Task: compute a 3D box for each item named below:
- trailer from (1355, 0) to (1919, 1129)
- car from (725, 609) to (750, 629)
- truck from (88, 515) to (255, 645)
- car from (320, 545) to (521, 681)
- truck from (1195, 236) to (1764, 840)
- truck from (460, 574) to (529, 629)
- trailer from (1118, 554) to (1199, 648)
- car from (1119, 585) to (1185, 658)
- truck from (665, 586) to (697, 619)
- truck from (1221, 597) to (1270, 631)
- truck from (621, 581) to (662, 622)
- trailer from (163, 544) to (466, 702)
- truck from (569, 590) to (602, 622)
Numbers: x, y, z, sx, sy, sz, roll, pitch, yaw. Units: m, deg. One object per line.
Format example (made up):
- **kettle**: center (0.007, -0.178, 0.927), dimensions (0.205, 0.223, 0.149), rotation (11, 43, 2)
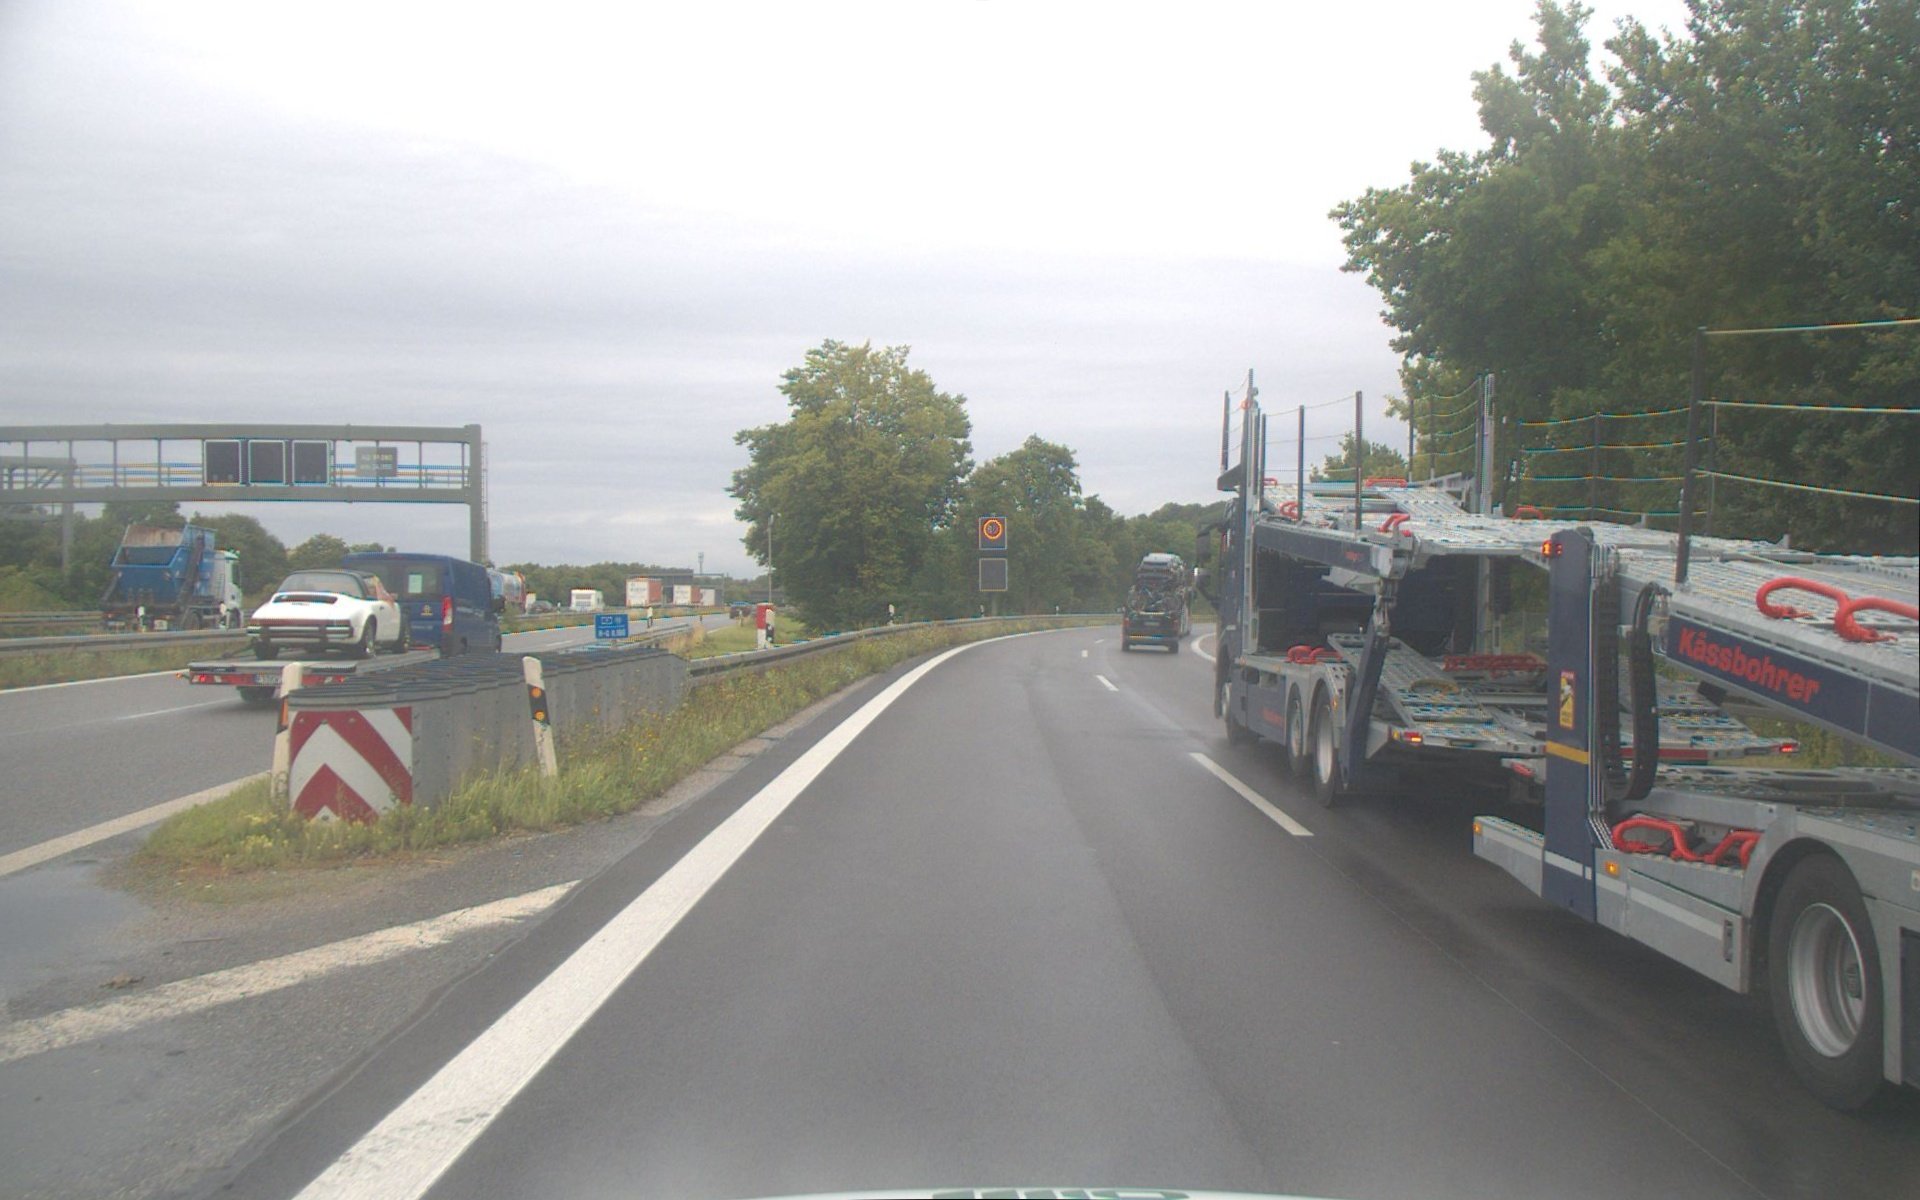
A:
- **trailer**: center (4.000, -0.206, 5.909), dimensions (2.720, 3.342, 10.407), rotation (1, 0, 0)
- **car**: center (-19.528, 1.674, 145.355), dimensions (1.923, 1.666, 5.618), rotation (1, -1, -5)
- **truck**: center (-25.575, -0.558, 54.030), dimensions (2.588, 3.879, 7.332), rotation (1, -1, -7)
- **car**: center (-10.178, 0.247, 31.830), dimensions (2.327, 2.306, 6.249), rotation (1, 0, -6)
- **truck**: center (4.165, -0.409, 15.747), dimensions (2.682, 4.037, 9.129), rotation (1, 0, 1)
- **truck**: center (-30.540, 0.135, 108.892), dimensions (2.801, 3.424, 8.621), rotation (1, 0, -5)
- **trailer**: center (9.625, 0.055, 80.497), dimensions (3.376, 4.069, 12.035), rotation (3, 0, 7)
- **car**: center (6.451, 0.704, 55.390), dimensions (2.065, 2.304, 5.900), rotation (0, 0, 7)
- **truck**: center (-40.516, 0.357, 240.785), dimensions (3.661, 4.494, 11.882), rotation (1, 0, -5)
- **truck**: center (22.826, 1.118, 132.001), dimensions (2.594, 2.651, 6.418), rotation (0, 0, 22)
- **truck**: center (-36.917, 0.207, 191.980), dimensions (3.661, 4.494, 10.183), rotation (1, 0, -5)
- **trailer**: center (-9.511, 0.327, 25.230), dimensions (2.437, 2.029, 7.054), rotation (1, 0, -6)
- **truck**: center (-33.666, 0.506, 148.717), dimensions (2.199, 2.751, 5.273), rotation (1, 0, -5)
